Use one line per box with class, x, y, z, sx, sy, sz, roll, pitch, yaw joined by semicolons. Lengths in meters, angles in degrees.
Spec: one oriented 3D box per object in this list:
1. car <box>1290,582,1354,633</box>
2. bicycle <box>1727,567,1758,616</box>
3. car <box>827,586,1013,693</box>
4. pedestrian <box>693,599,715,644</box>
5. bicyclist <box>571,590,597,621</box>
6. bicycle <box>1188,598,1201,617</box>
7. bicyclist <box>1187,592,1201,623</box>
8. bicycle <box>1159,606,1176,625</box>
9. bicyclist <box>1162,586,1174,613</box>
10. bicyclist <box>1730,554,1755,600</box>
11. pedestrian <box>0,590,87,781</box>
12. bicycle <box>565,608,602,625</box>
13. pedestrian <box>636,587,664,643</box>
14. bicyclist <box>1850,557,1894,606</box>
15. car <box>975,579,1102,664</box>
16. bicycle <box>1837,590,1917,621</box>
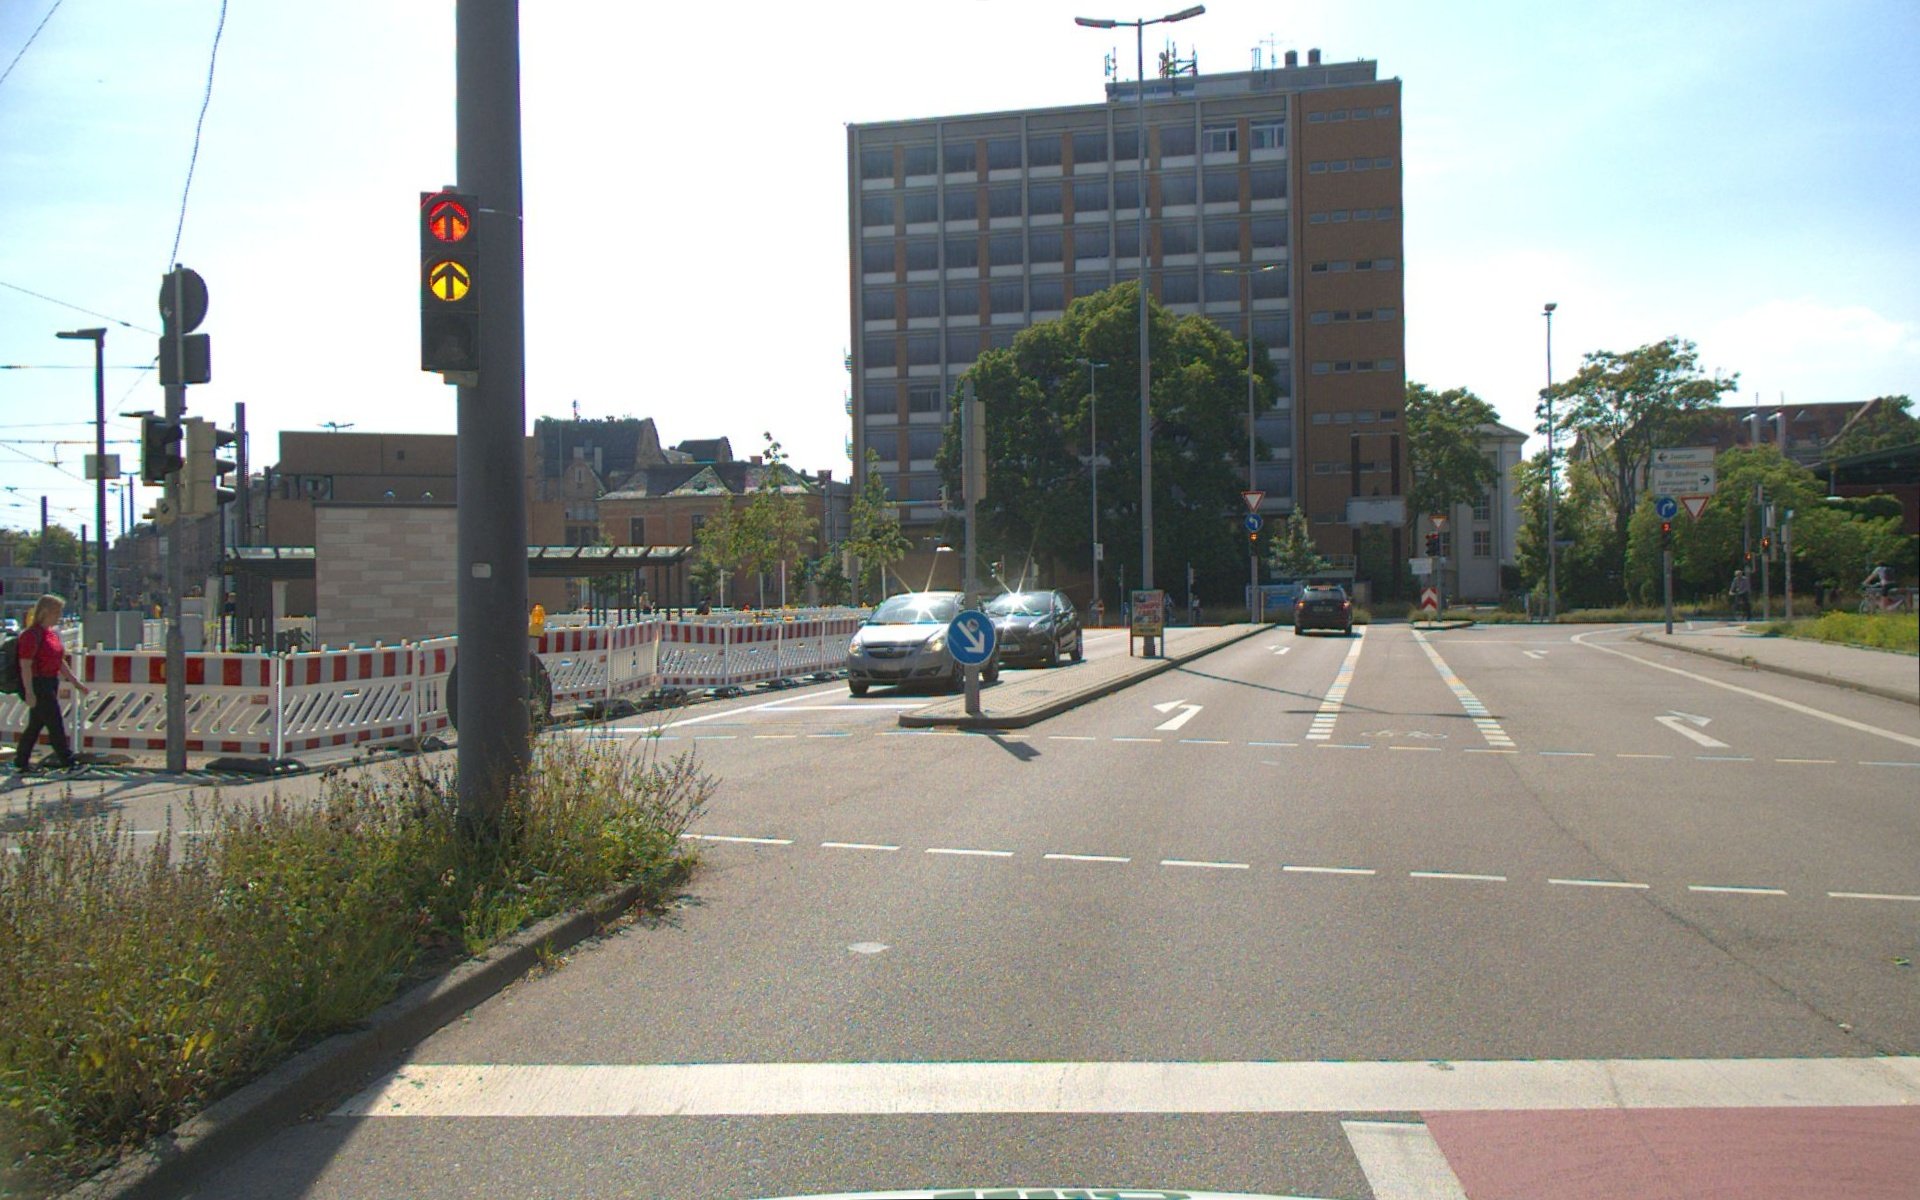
car;11.128;0.206;50.639;1.742;1.468;3.821;1;1;15
bicycle;29.245;-0.315;61.819;0.663;1.796;1.812;-2;0;14
car;-0.521;0.558;25.414;1.756;1.436;4.003;-3;0;15
pedestrian;-8.767;0.728;56.596;0.618;1.518;0.616;-2;0;-2
bicyclist;-18.676;0.290;82.200;1.142;1.500;0.563;-1;0;27
bicycle;12.505;0.380;88.244;0.605;0.977;1.970;-4;0;10
bicyclist;12.505;0.380;88.244;0.605;1.609;1.015;-4;0;10
bicycle;11.378;0.831;90.624;0.689;0.994;2.032;-2;0;12
bicyclist;11.395;-0.017;90.505;0.528;1.441;1.031;-2;-1;13
bicyclist;29.255;-0.858;61.849;0.663;1.684;0.919;-2;0;14
pedestrian;-8.136;0.743;14.622;0.675;1.644;0.348;-1;0;-23
bicycle;-18.706;0.818;82.215;1.853;0.806;0.560;-1;1;27
pedestrian;-10.292;0.509;54.966;0.721;1.783;1.110;-2;-2;-1
bicyclist;28.461;-0.584;51.611;0.489;1.496;1.133;1;-1;-27
car;1.596;0.383;32.362;1.631;1.476;3.821;-3;0;15
bicycle;28.555;0.175;51.526;0.665;0.932;2.149;-2;0;-28
